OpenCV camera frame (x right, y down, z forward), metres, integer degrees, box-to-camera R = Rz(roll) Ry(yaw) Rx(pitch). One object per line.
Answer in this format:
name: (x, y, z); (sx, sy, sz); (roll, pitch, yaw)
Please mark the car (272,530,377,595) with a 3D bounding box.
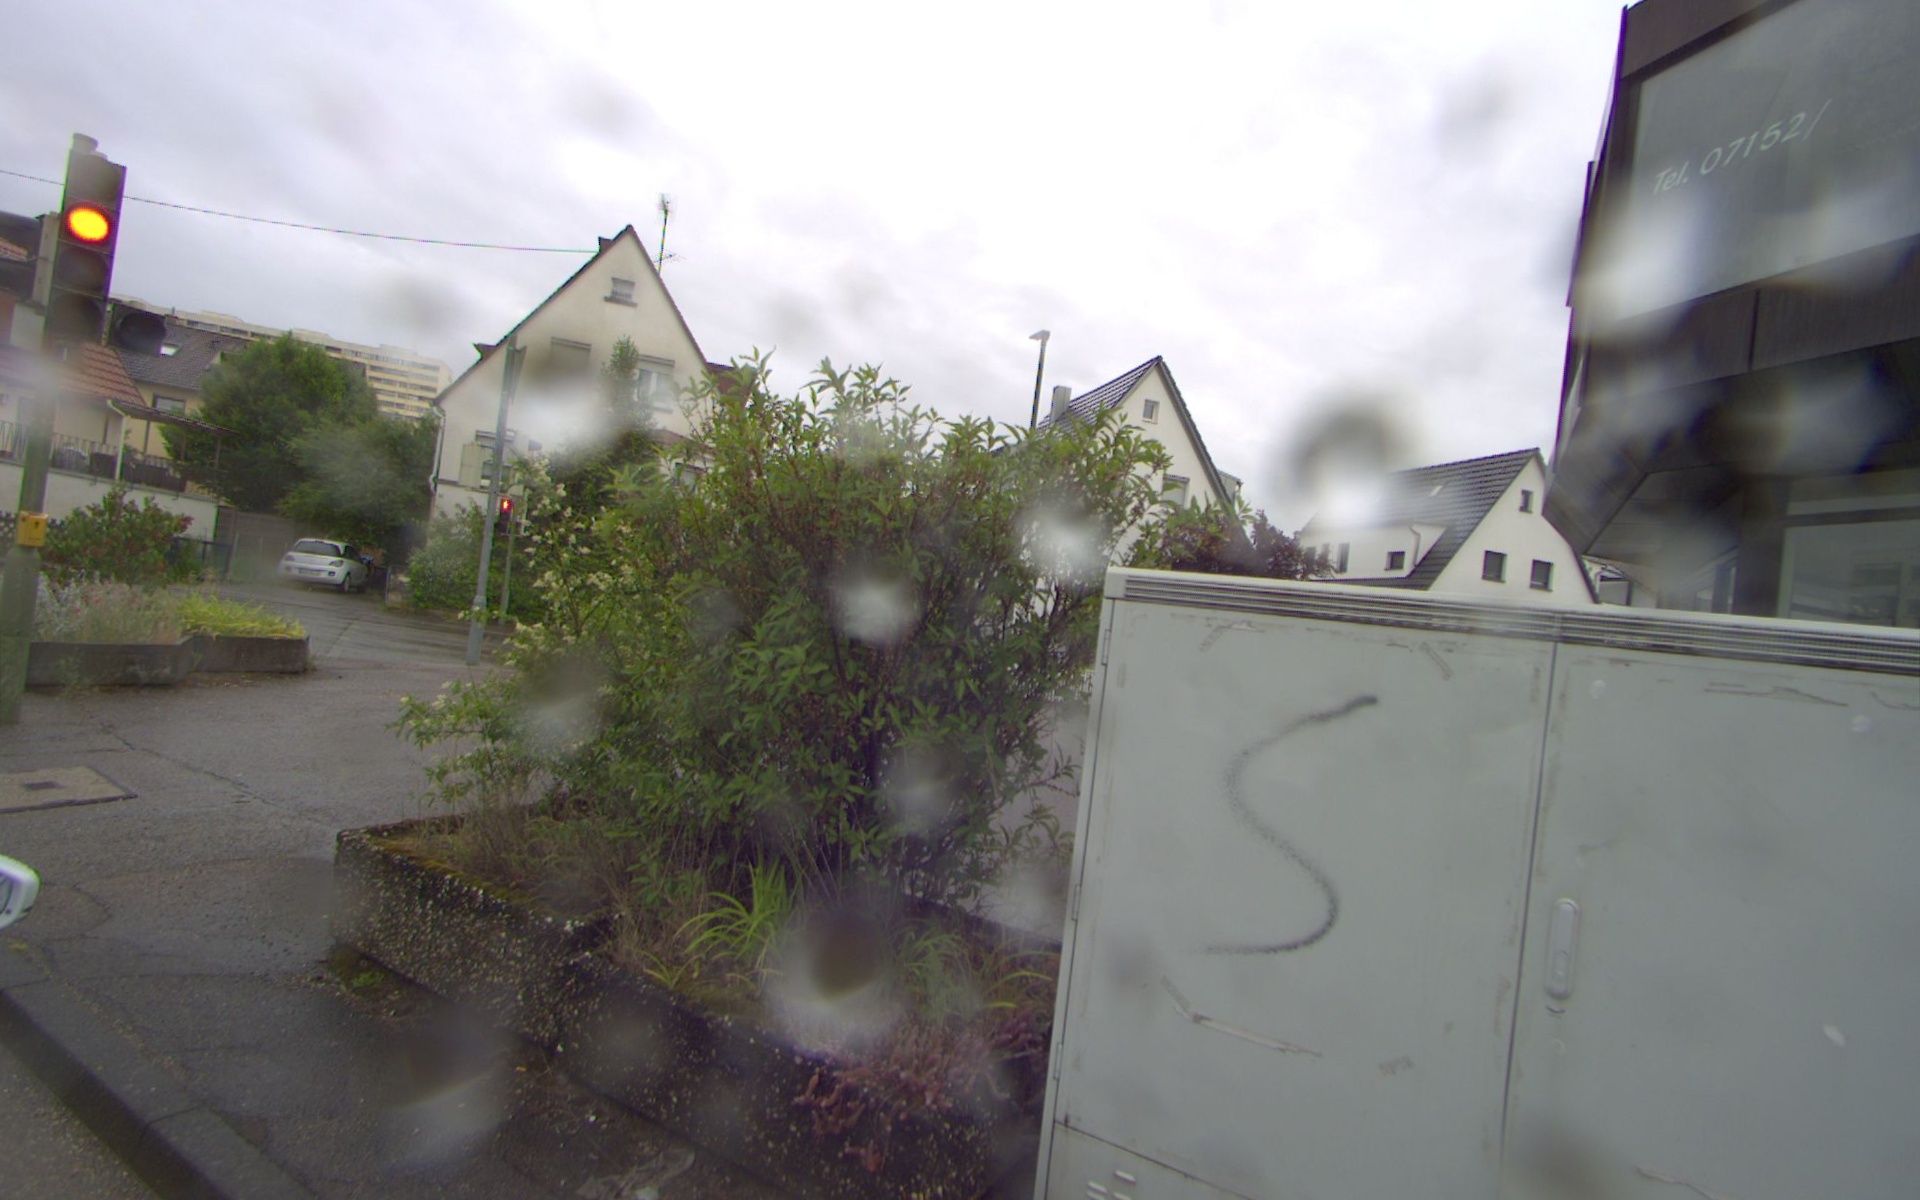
car: (-18.800, -1.078, 29.929); (1.722, 1.532, 3.982); (9, -2, -21)
